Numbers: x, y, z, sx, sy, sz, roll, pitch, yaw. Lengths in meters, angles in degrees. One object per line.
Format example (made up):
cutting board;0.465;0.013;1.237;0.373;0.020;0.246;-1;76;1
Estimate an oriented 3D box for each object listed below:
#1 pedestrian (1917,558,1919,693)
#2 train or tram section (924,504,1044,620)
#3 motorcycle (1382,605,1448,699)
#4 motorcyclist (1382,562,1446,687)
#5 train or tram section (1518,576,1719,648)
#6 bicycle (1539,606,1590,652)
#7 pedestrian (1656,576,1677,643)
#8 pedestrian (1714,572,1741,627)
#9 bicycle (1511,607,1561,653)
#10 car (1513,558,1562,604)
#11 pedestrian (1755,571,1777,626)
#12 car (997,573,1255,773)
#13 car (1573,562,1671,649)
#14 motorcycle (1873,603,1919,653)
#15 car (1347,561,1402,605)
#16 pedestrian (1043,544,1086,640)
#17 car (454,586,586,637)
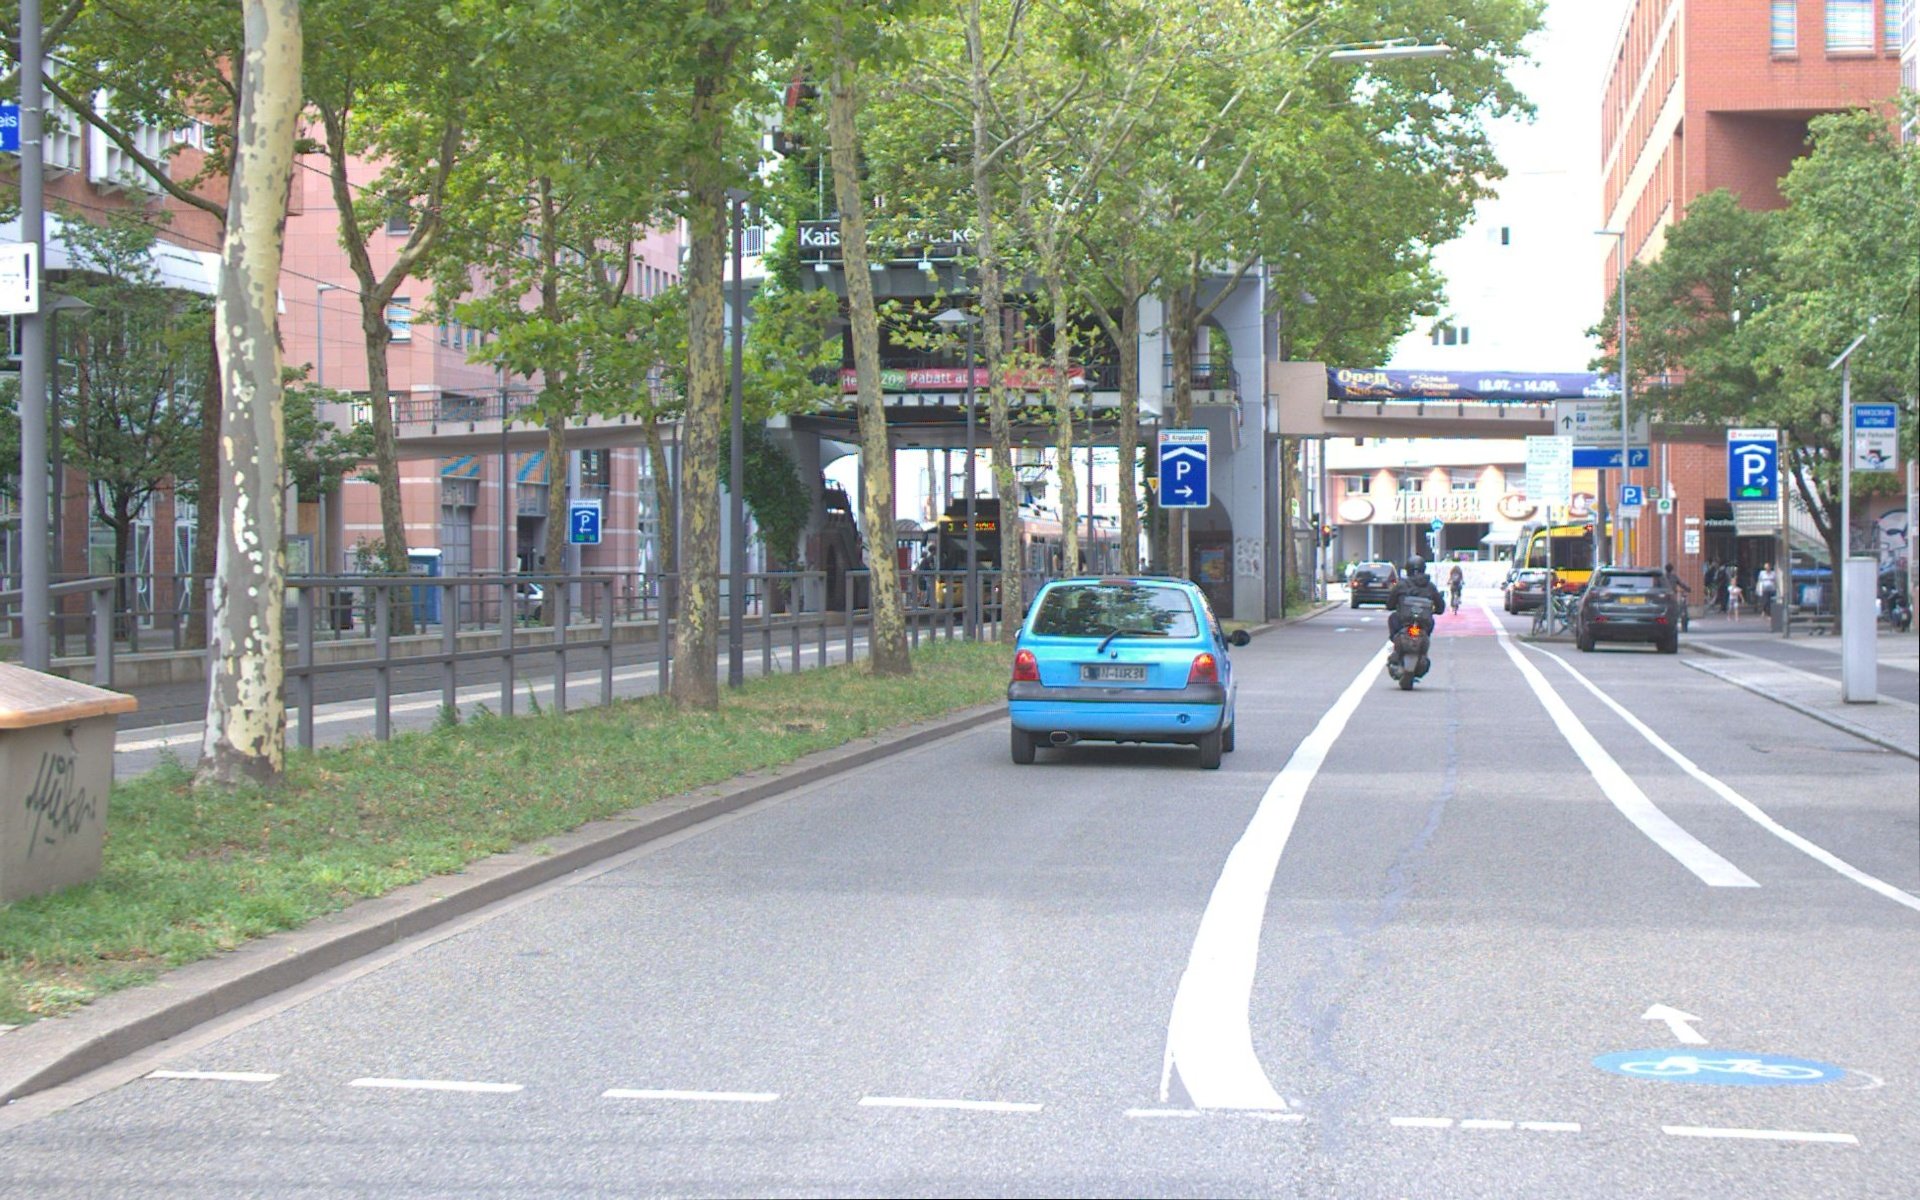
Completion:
pedestrian;13.445;0.346;46.897;0.647;1.852;0.782;0;0;7
train or tram section;0.768;-1.072;100.756;2.390;3.242;8.815;0;0;8
motorcycle;5.574;0.620;42.217;0.767;1.103;2.207;-1;0;7
motorcyclist;5.580;0.296;42.290;0.759;1.514;1.017;-1;0;7
train or tram section;30.221;0.538;157.917;8.786;3.243;2.397;0;0;-11
bicycle;13.537;0.638;77.049;0.563;1.005;2.010;0;0;-7
pedestrian;18.614;0.255;90.575;0.510;1.753;0.539;0;0;8
pedestrian;21.999;-0.016;98.522;0.669;1.556;0.728;0;0;4
bicycle;12.884;0.659;76.974;0.563;1.005;2.010;0;0;-7
car;20.515;-0.689;122.229;1.699;1.596;3.999;0;1;9
pedestrian;22.933;-0.035;97.810;0.545;1.556;0.614;0;1;8
car;1.346;0.506;26.536;1.641;1.381;3.842;1;1;8
car;12.574;0.079;65.490;1.699;1.596;3.999;0;1;9
motorcycle;21.832;0.644;80.110;0.756;1.133;2.435;0;0;7
car;15.525;-0.645;128.577;1.887;1.618;3.999;0;0;9
pedestrian;2.027;-0.154;66.446;0.728;1.852;0.870;0;0;9
car;-14.349;0.369;112.198;3.987;1.618;1.805;0;0;5
